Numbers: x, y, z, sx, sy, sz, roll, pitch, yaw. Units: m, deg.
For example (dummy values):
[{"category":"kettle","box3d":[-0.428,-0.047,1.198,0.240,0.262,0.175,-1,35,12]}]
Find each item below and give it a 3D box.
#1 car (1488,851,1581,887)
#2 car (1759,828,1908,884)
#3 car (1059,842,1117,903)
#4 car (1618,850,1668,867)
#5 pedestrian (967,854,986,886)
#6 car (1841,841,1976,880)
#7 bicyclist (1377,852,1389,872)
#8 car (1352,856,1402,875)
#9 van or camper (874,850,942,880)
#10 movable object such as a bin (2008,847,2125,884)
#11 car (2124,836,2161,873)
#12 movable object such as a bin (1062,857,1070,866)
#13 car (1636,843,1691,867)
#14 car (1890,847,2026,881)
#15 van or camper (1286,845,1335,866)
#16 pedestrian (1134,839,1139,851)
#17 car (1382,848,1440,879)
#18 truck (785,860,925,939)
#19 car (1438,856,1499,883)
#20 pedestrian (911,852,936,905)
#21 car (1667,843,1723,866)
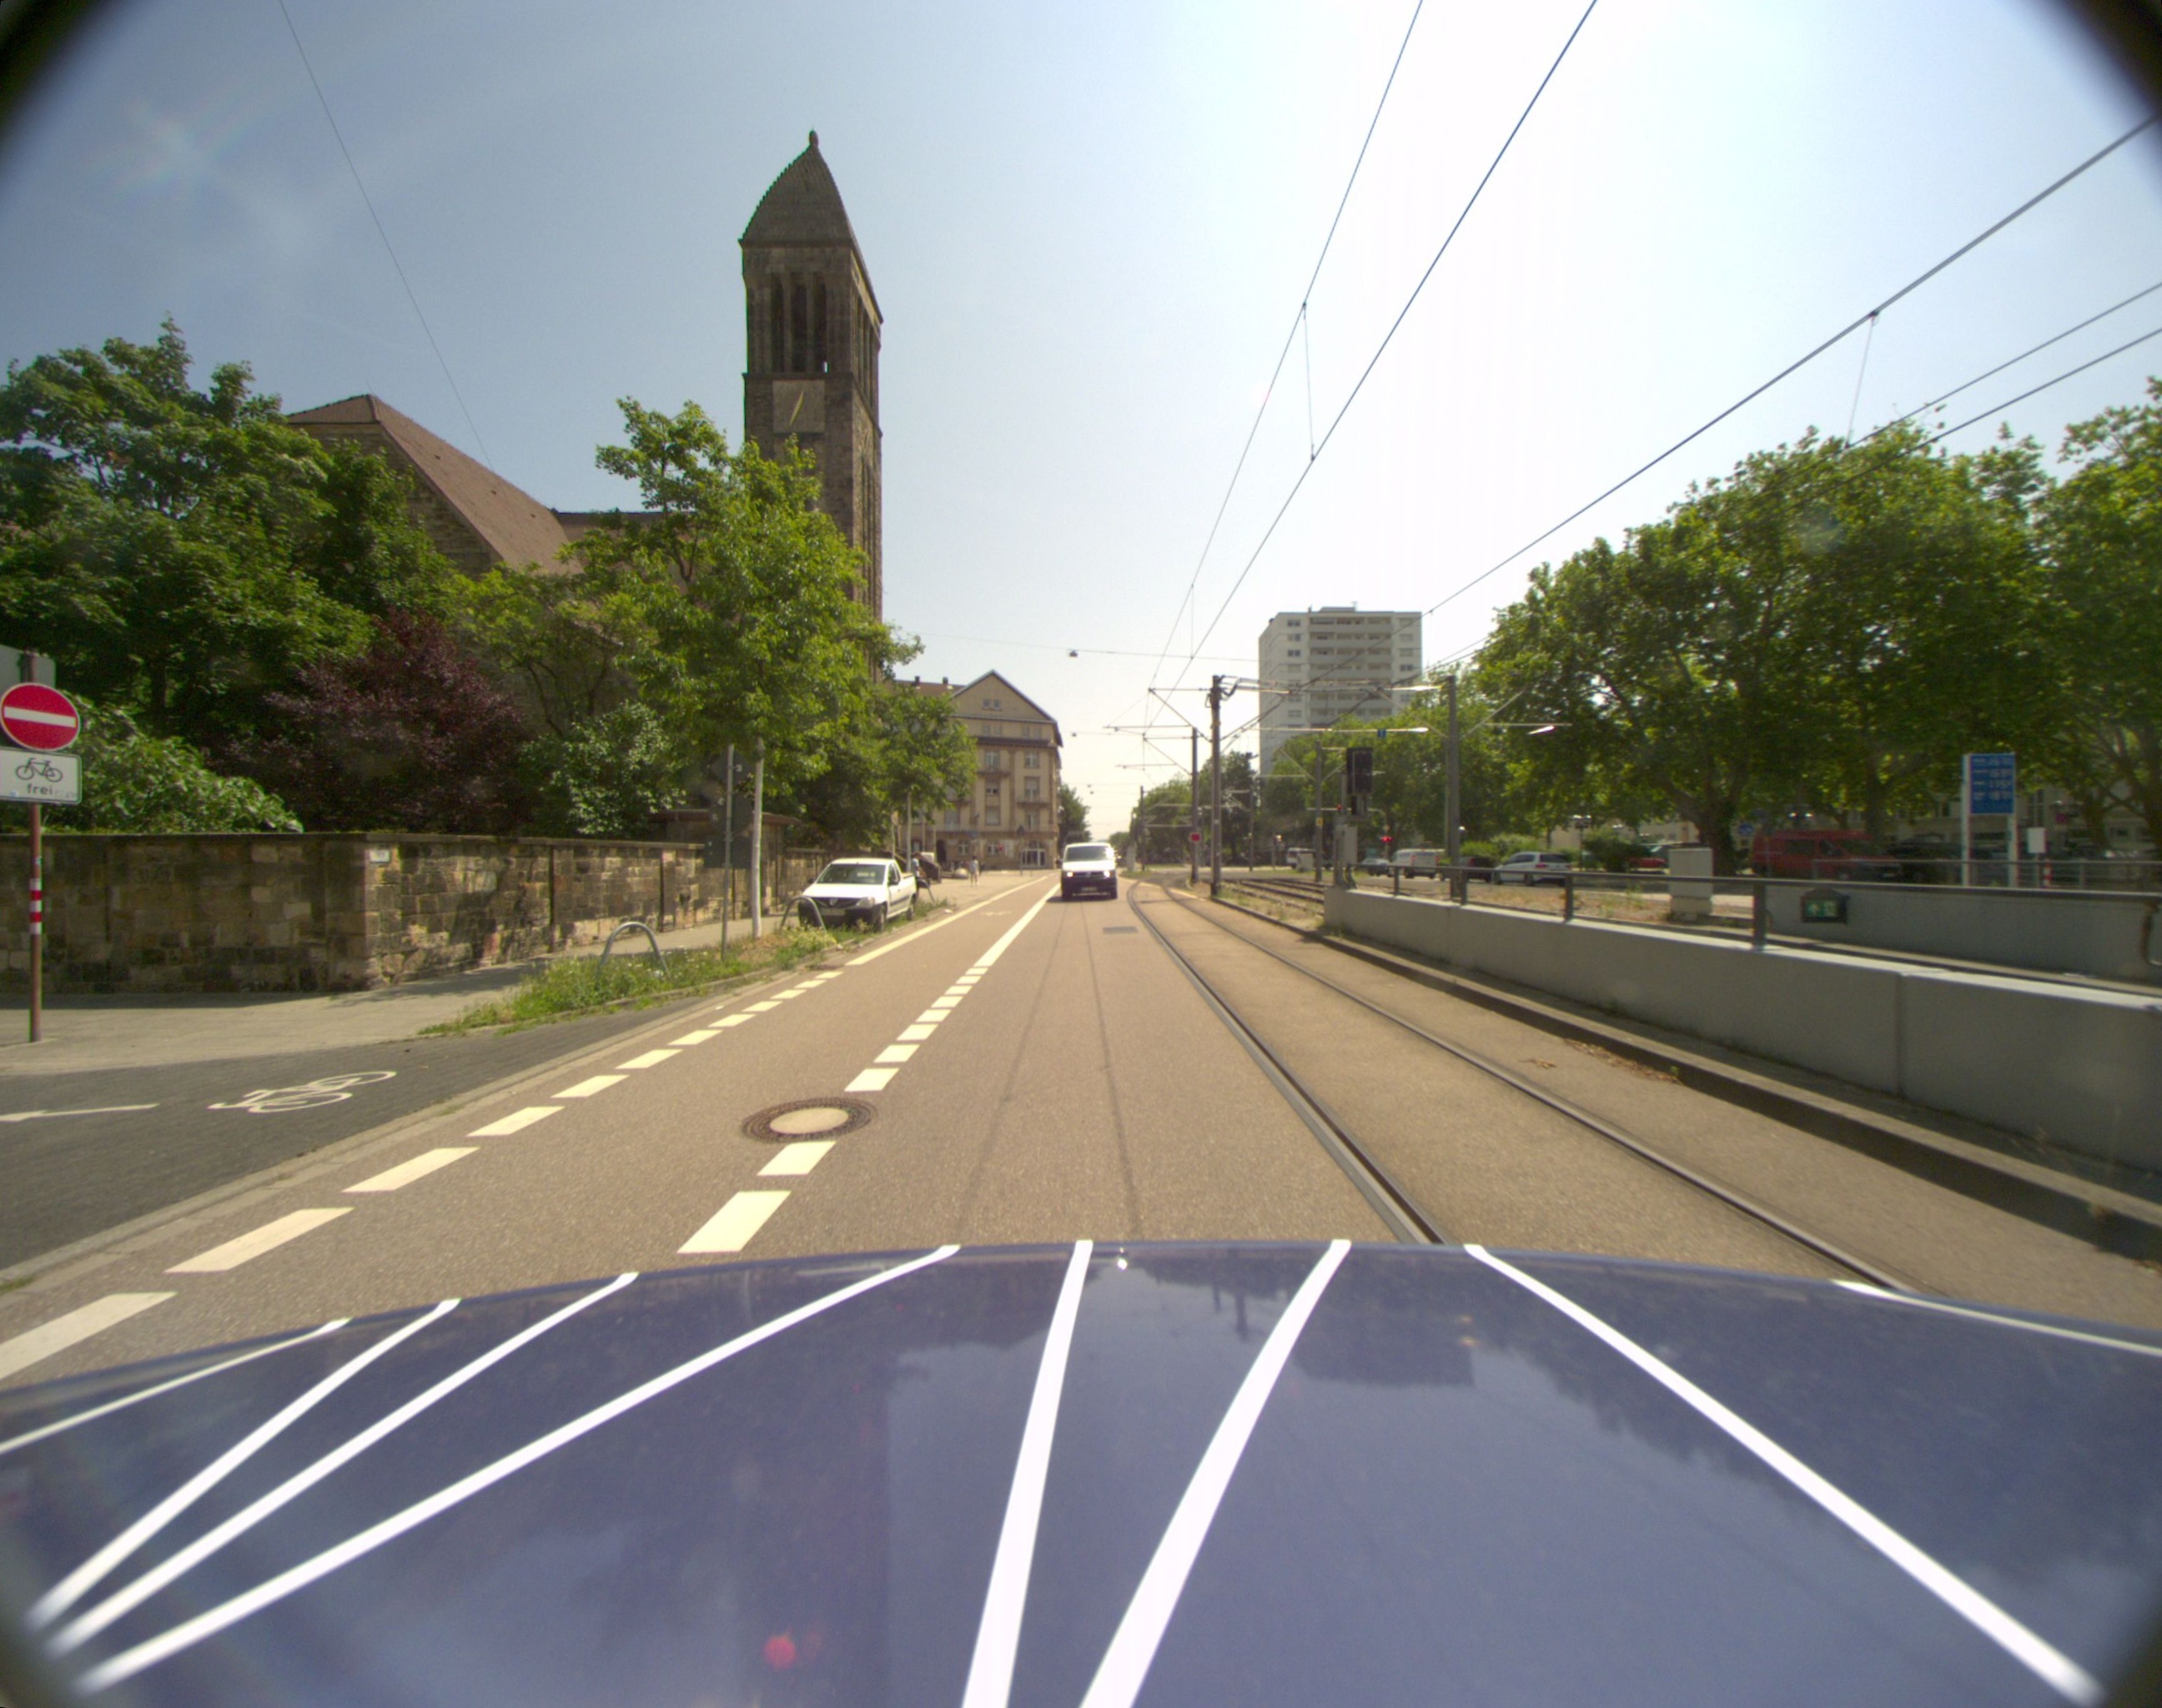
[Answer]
[{"category":"car","box3d":[21.920,0.690,36.962,1.851,1.616,4.602,1,0,2]},{"category":"car","box3d":[34.257,0.038,34.835,1.851,2.379,4.980,-1,1,0]},{"category":"car","box3d":[0.282,0.589,26.991,1.852,1.942,4.943,-1,0,1]},{"category":"car","box3d":[49.173,0.389,66.500,3.342,1.375,1.472,-1,0,0]},{"category":"pedestrian","box3d":[-5.571,0.834,40.477,0.795,1.641,0.967,-1,0,2]},{"category":"car","box3d":[38.685,0.267,35.675,1.998,1.710,4.000,-1,0,0]},{"category":"bicyclist","box3d":[25.025,0.646,63.013,0.640,1.676,0.868,-1,0,-3]},{"category":"car","box3d":[22.190,0.881,57.150,1.952,1.351,4.628,0,0,-1]},{"category":"van or camper","box3d":[-11.219,0.729,49.416,3.997,1.814,1.803,1,-2,-1]},{"category":"movable object such as a bin","box3d":[44.302,0.493,34.213,2.724,1.601,1.986,-1,0,0]},{"category":"car","box3d":[51.487,0.018,34.920,1.603,1.696,4.000,-1,0,0]},{"category":"movable object such as a bin","box3d":[-2.330,1.205,119.970,1.214,1.427,1.008,-1,0,-4]},{"category":"car","box3d":[52.870,0.064,69.046,1.998,2.071,4.000,-1,0,0]},{"category":"car","box3d":[41.565,0.473,36.175,1.867,1.517,4.000,-1,0,0]},{"category":"van or camper","box3d":[27.652,0.158,91.560,5.911,2.447,2.069,0,0,-29]},{"category":"pedestrian","box3d":[7.964,-1.228,108.327,0.679,1.695,0.554,-1,0,3]},{"category":"car","box3d":[22.129,0.640,51.115,1.781,1.979,4.804,0,0,-1]},{"category":"truck","box3d":[-4.963,0.934,17.393,1.794,1.517,4.465,-1,0,1]},{"category":"car","box3d":[22.130,0.844,43.549,1.600,1.412,3.782,1,0,0]},{"category":"pedestrian","box3d":[-5.222,0.799,25.235,0.622,1.744,0.678,-1,0,2]},{"category":"car","box3d":[56.745,0.009,70.345,1.998,2.071,4.000,-1,0,0]}]
